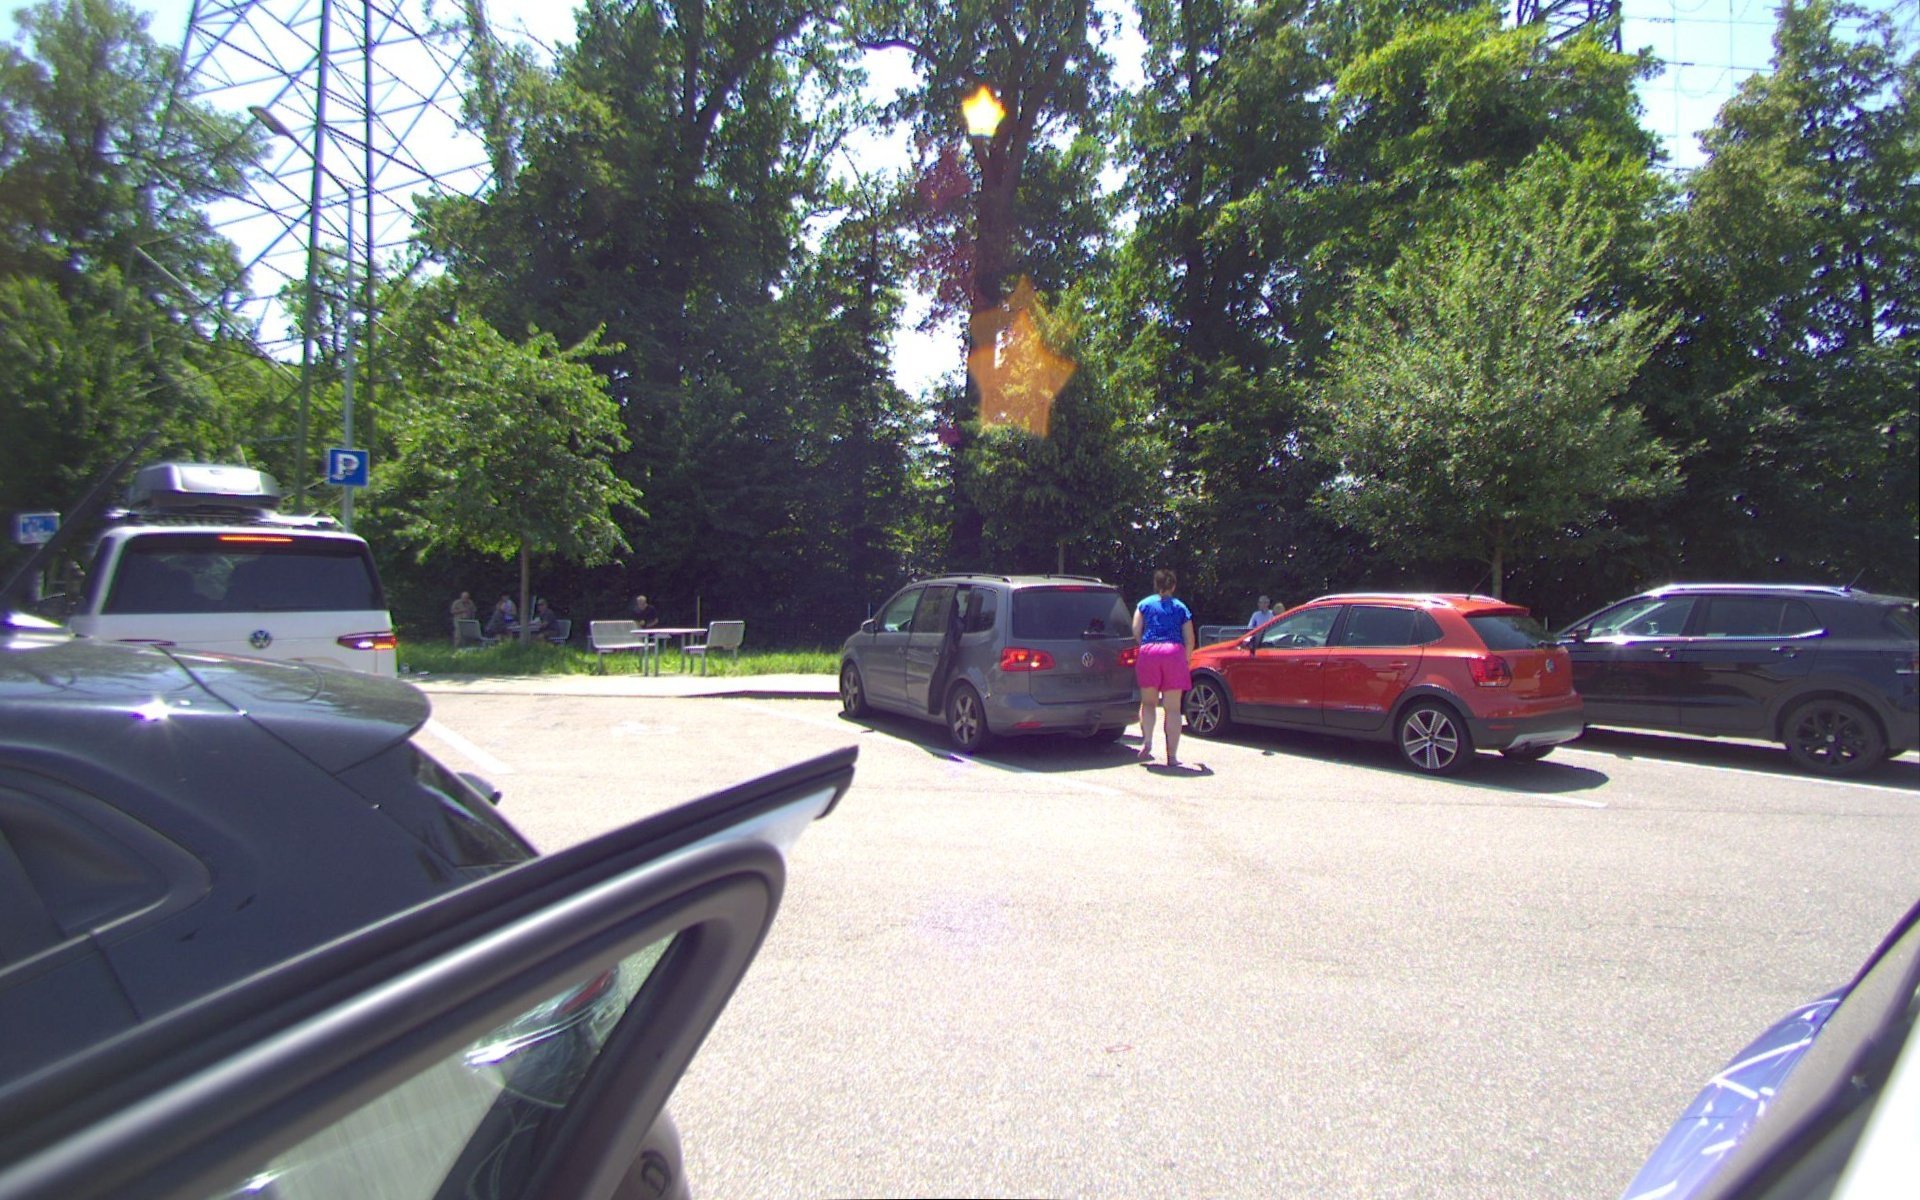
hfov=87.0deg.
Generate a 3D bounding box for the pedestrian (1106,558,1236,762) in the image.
[{"bbox_3d":[1.839,0.497,8.906,0.901,1.703,0.735,0,0,-11],"label":"pedestrian"}]

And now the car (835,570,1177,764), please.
[{"bbox_3d":[0.251,0.518,10.531,1.713,1.601,3.996,0,1,-29],"label":"car"}]

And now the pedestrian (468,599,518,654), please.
[{"bbox_3d":[-10.518,0.588,22.785,0.873,1.192,0.668,0,0,-41],"label":"pedestrian"}]

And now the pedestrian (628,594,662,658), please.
[{"bbox_3d":[-6.618,0.522,21.277,0.655,1.311,0.786,0,0,-16],"label":"pedestrian"}]

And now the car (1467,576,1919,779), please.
[{"bbox_3d":[7.178,0.576,9.720,1.690,1.593,3.787,0,1,-39],"label":"car"}]

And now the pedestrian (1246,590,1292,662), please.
[{"bbox_3d":[5.785,0.478,18.987,0.657,1.311,0.783,0,0,3],"label":"pedestrian"}]

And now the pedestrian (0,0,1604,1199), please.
[{"bbox_3d":[-0.139,0.540,0.590,0.874,1.865,0.621,0,0,-38],"label":"pedestrian"}]

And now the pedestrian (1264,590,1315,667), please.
[{"bbox_3d":[5.779,0.489,17.769,0.657,1.311,0.783,0,0,3],"label":"pedestrian"}]

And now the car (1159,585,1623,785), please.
[{"bbox_3d":[3.851,0.611,9.661,1.687,1.484,3.793,0,1,-32],"label":"car"}]

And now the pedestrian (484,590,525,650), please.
[{"bbox_3d":[-11.035,0.465,24.526,0.664,1.422,0.643,0,0,32],"label":"pedestrian"}]

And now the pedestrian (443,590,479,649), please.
[{"bbox_3d":[-12.305,0.463,24.964,0.657,1.422,0.649,0,0,-39],"label":"pedestrian"}]

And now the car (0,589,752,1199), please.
[{"bbox_3d":[-2.206,0.720,0.613,1.737,1.501,3.757,0,0,44],"label":"car"}]

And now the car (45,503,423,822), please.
[{"bbox_3d":[-6.228,0.335,8.432,1.881,1.936,4.552,0,1,-45],"label":"car"}]

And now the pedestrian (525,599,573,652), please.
[{"bbox_3d":[-9.602,0.575,23.639,0.873,1.192,0.668,0,0,-41],"label":"pedestrian"}]
